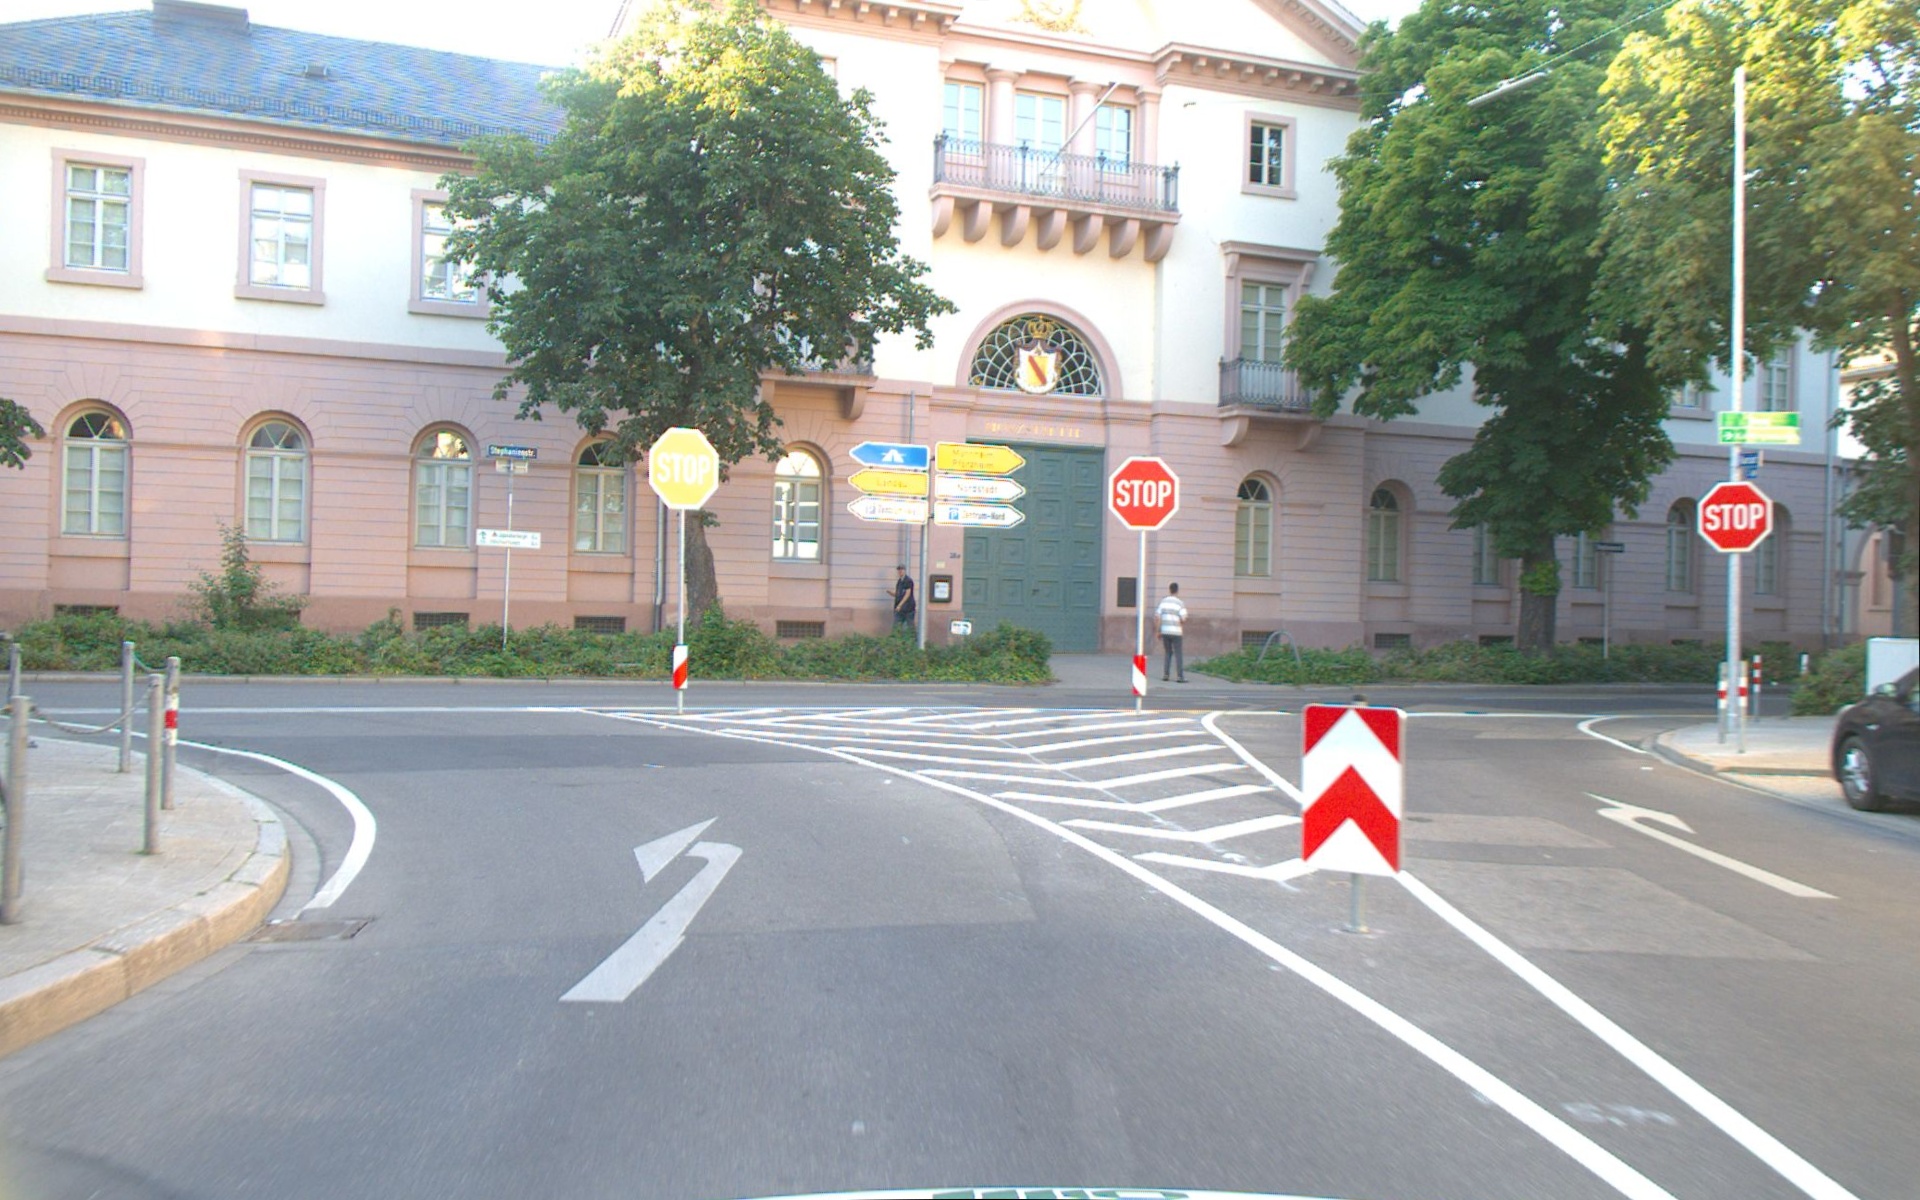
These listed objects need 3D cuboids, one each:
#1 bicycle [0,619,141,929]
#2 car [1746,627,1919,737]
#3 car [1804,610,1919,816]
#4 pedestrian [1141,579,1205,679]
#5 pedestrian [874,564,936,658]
[{"bbox_3d":[-4.050,0.670,6.240,0.710,1.145,1.805,4,0,11],"label":"bicycle"},{"bbox_3d":[15.387,1.333,27.588,1.797,1.643,3.974,1,0,-22],"label":"car"},{"bbox_3d":[8.282,0.908,12.429,1.764,1.568,4.432,2,0,3],"label":"car"},{"bbox_3d":[4.024,0.545,31.264,0.914,1.864,0.795,1,0,-24],"label":"pedestrian"},{"bbox_3d":[-1.126,0.227,33.728,1.063,1.871,0.796,1,0,-20],"label":"pedestrian"}]
